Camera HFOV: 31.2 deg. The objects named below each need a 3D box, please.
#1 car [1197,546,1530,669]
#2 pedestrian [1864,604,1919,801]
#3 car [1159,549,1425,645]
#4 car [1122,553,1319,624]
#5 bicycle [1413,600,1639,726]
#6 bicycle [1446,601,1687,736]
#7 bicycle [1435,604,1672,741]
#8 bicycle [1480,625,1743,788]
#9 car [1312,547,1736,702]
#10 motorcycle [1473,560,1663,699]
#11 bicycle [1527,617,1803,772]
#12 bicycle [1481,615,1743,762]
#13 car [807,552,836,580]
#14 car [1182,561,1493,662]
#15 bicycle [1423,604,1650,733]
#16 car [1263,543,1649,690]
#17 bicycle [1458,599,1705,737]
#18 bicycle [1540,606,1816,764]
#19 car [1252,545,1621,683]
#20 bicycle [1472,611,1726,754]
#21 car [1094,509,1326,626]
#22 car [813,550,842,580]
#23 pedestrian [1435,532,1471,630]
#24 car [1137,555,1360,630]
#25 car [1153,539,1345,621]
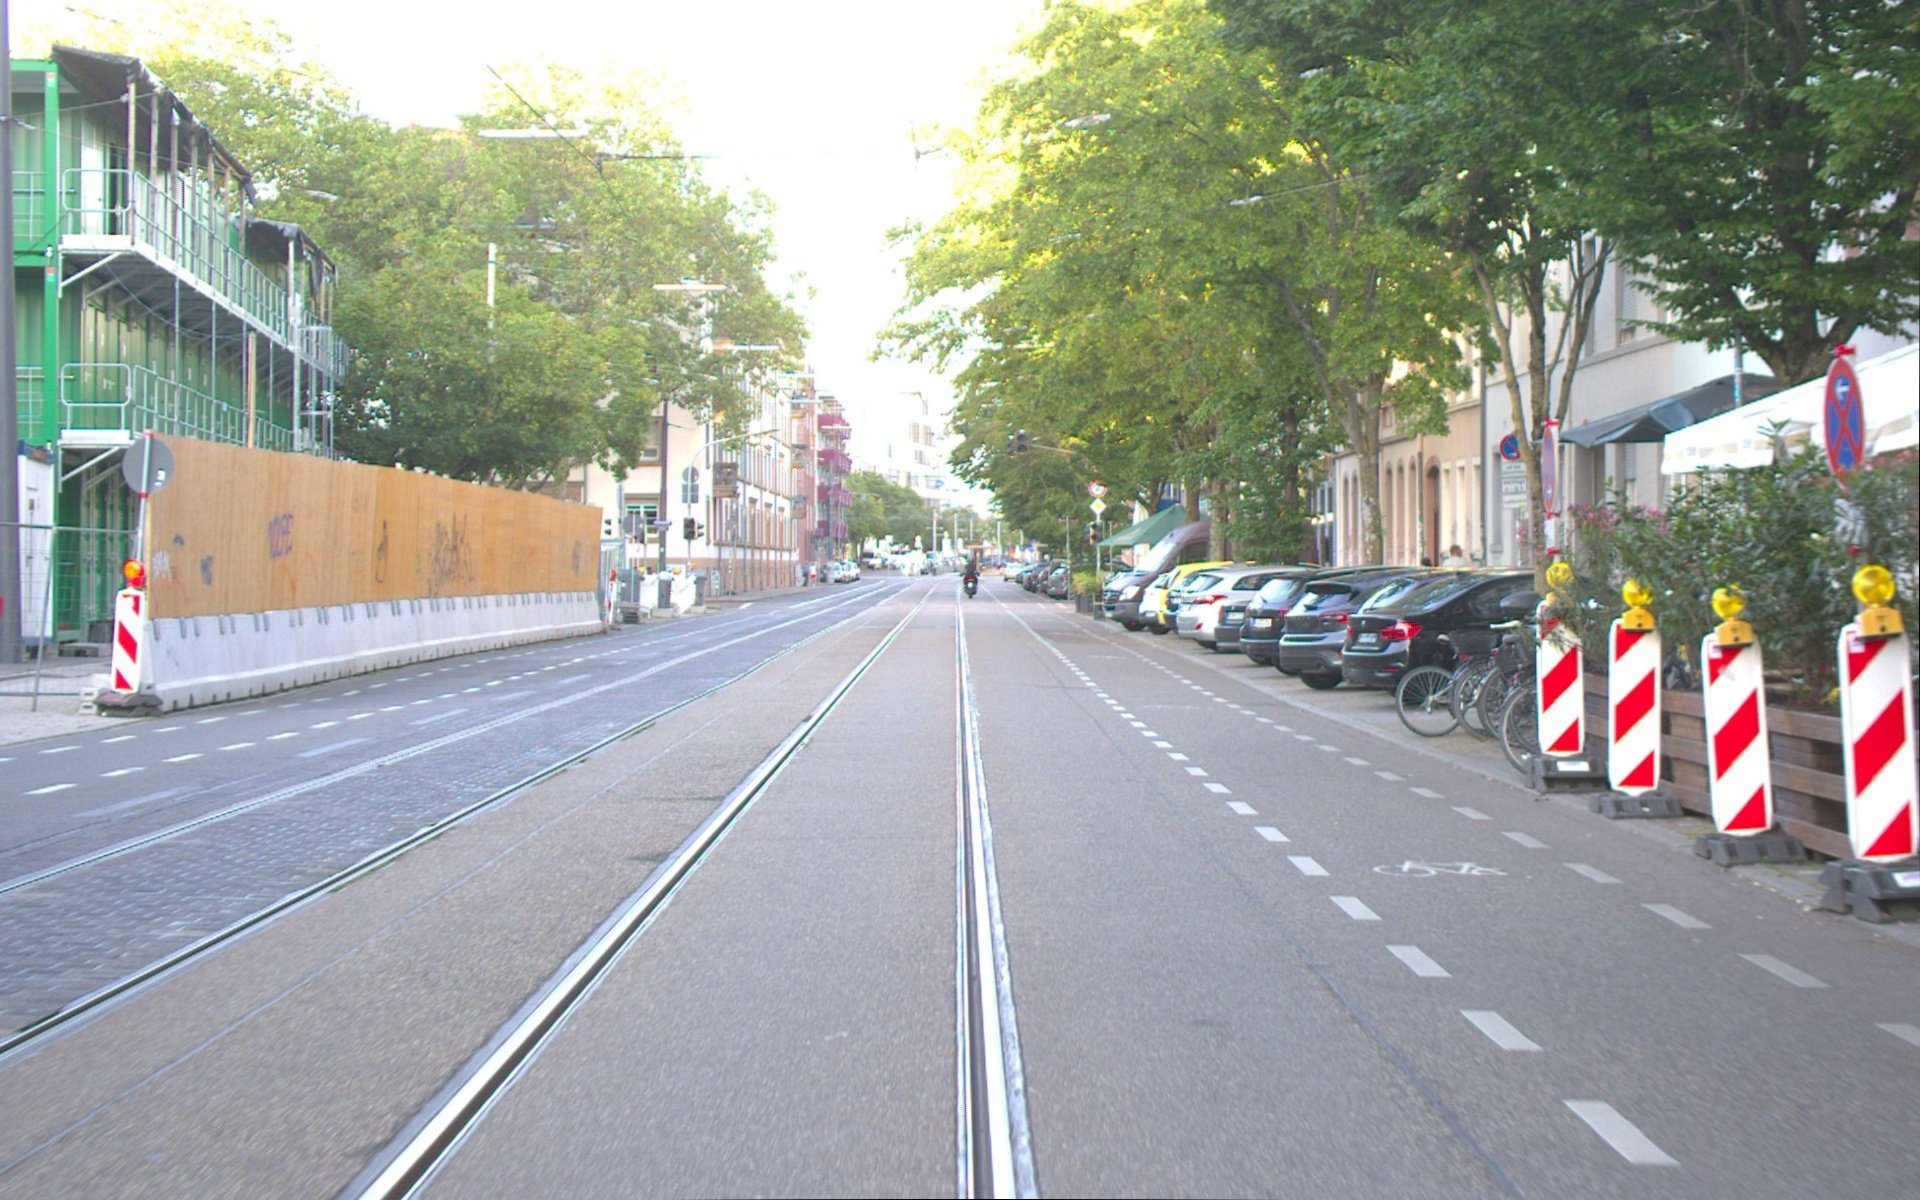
[{"bbox_3d":[5.635,0.084,48.072,4.115,1.465,2.016,-3,1,-24],"label":"car"},{"bbox_3d":[6.409,0.680,23.015,0.502,1.288,0.600,1,0,-4],"label":"pedestrian"},{"bbox_3d":[5.830,-0.061,60.591,4.249,1.543,2.020,-2,1,-10],"label":"car"},{"bbox_3d":[5.894,-0.253,77.840,3.949,1.481,1.921,-2,0,-23],"label":"car"},{"bbox_3d":[5.126,0.568,31.193,1.903,1.028,0.533,-3,1,-1],"label":"bicycle"},{"bbox_3d":[5.138,0.575,29.187,1.886,1.028,0.608,-3,1,-1],"label":"bicycle"},{"bbox_3d":[5.153,0.621,29.901,1.886,1.064,0.674,-3,1,-1],"label":"bicycle"},{"bbox_3d":[4.554,0.741,24.078,1.678,1.028,0.557,-3,1,-1],"label":"bicycle"},{"bbox_3d":[6.172,0.246,37.700,4.160,1.421,1.824,-3,1,-19],"label":"car"},{"bbox_3d":[6.174,0.293,34.937,1.786,1.339,0.533,-2,1,-1],"label":"motorcycle"},{"bbox_3d":[5.262,0.698,25.701,1.886,1.028,0.608,-3,1,-1],"label":"bicycle"},{"bbox_3d":[5.124,0.690,27.068,1.886,1.028,0.608,-3,1,-1],"label":"bicycle"},{"bbox_3d":[-10.088,-2.462,250.410,1.898,2.007,4.000,1,1,0],"label":"car"},{"bbox_3d":[5.755,0.161,52.430,4.249,1.387,2.016,-2,1,-23],"label":"car"},{"bbox_3d":[5.121,0.606,30.589,1.863,1.028,0.591,-3,1,-2],"label":"bicycle"},{"bbox_3d":[5.794,0.168,40.311,3.948,1.465,2.002,-3,1,-16],"label":"car"},{"bbox_3d":[5.147,0.559,28.519,1.886,1.028,0.608,-3,1,-1],"label":"bicycle"},{"bbox_3d":[5.201,0.610,24.955,1.815,1.028,0.608,-3,1,-1],"label":"bicycle"},{"bbox_3d":[5.944,0.154,42.977,4.115,1.465,1.824,-3,1,-18],"label":"car"},{"bbox_3d":[5.157,0.661,27.789,1.886,1.028,0.608,-3,1,-1],"label":"bicycle"},{"bbox_3d":[5.998,-0.780,82.680,5.093,2.633,2.022,-2,0,-16],"label":"car"},{"bbox_3d":[-9.822,-2.627,255.052,1.898,2.171,4.000,1,1,0],"label":"car"},{"bbox_3d":[9.212,-0.359,64.230,0.565,1.808,0.607,0,0,-1],"label":"pedestrian"},{"bbox_3d":[5.930,-0.151,70.719,4.120,1.420,1.921,-2,0,-25],"label":"car"},{"bbox_3d":[6.211,-0.429,74.141,3.950,1.614,1.921,-2,0,1],"label":"car"}]
